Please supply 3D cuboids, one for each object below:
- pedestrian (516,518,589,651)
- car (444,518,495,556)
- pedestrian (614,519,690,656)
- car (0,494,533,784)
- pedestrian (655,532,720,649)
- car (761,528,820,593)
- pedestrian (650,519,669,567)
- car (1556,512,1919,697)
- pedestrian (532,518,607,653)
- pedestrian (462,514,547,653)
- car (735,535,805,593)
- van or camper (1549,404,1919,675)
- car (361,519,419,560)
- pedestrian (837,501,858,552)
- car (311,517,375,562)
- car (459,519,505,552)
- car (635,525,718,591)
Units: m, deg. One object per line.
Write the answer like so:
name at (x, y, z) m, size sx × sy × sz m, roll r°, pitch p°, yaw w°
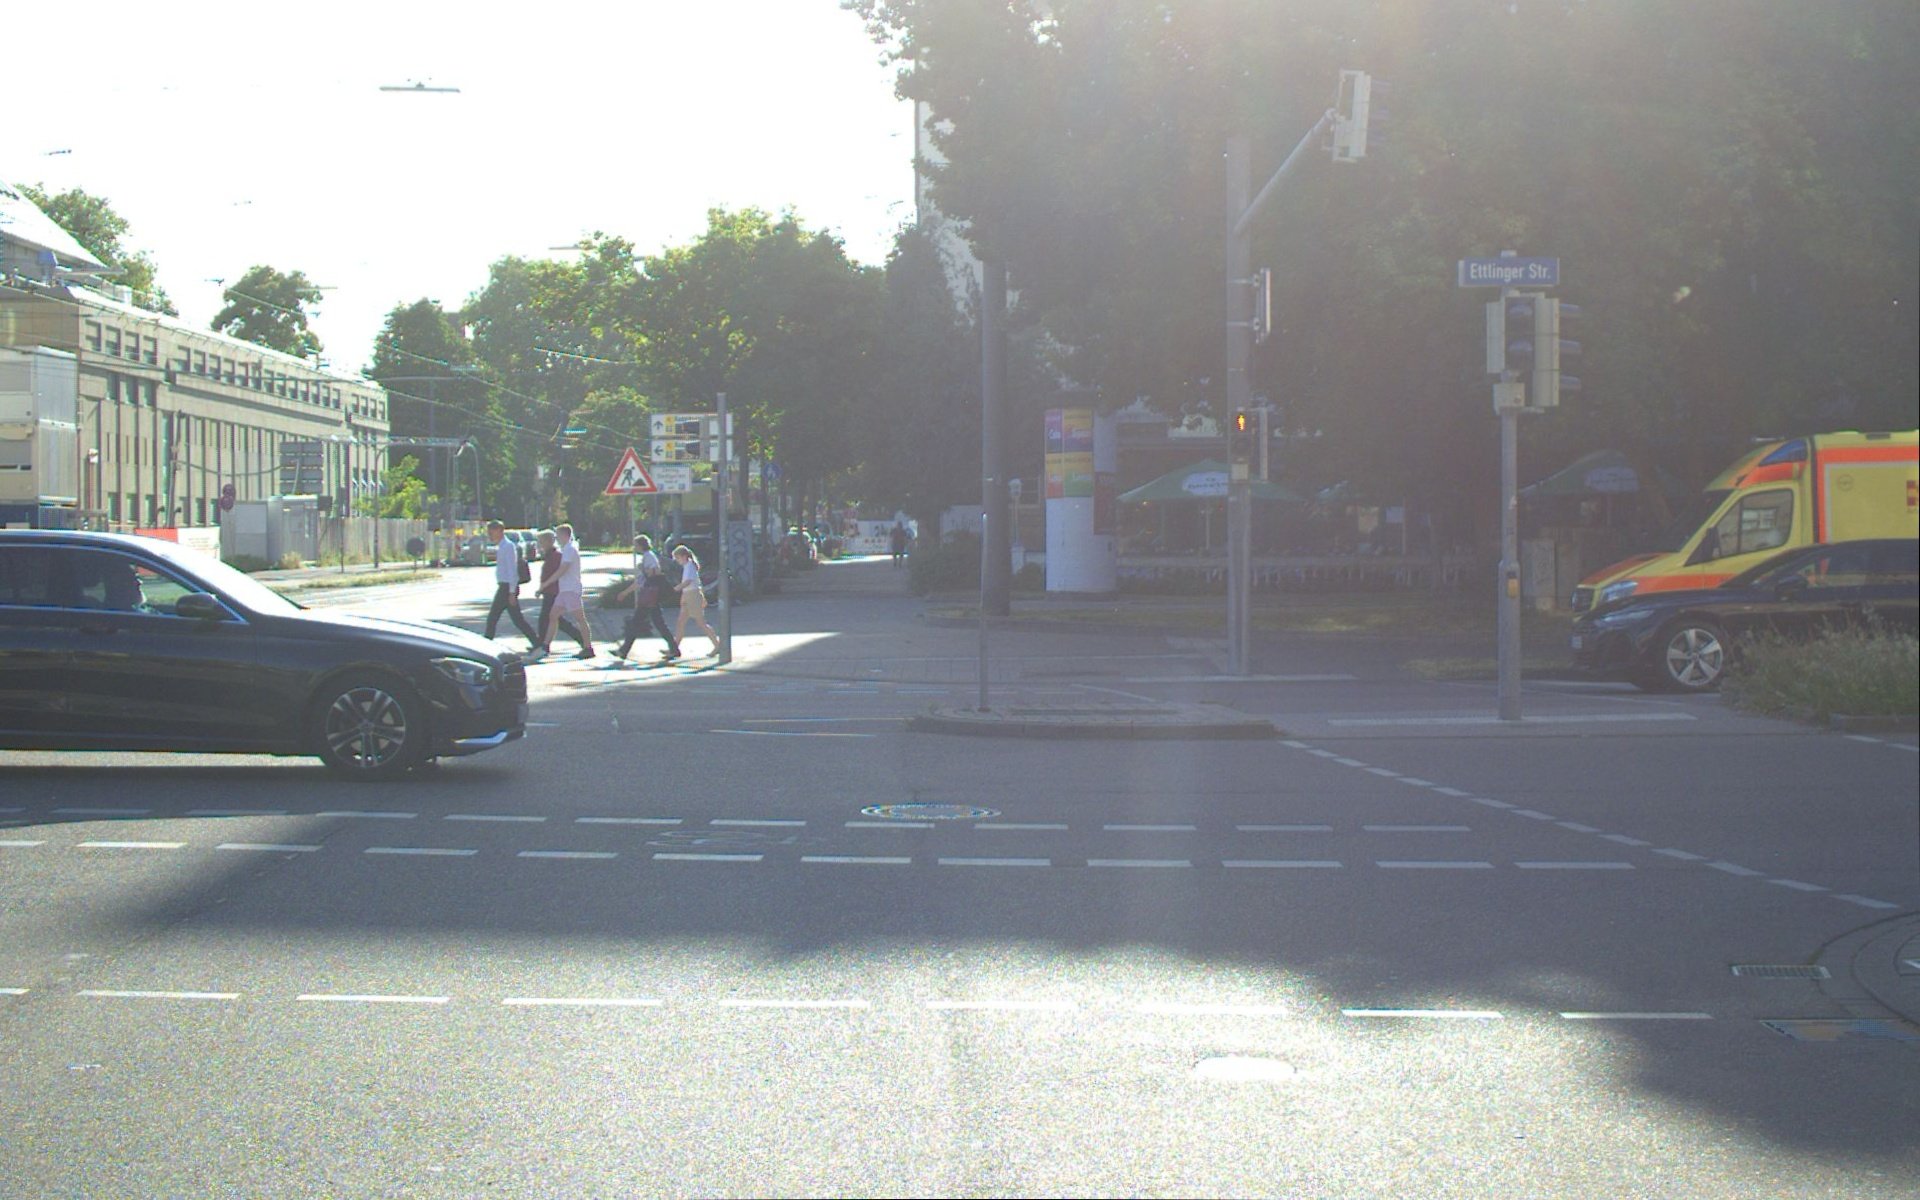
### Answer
pedestrian at (-5.526, -0.211, 46.625) m, size 0.847 × 1.778 × 0.780 m, roll -1°, pitch 1°, yaw -17°
car at (-22.247, -2.850, 155.964) m, size 1.819 × 1.706 × 3.806 m, roll 0°, pitch 1°, yaw -1°
pedestrian at (-4.069, -0.171, 45.362) m, size 0.847 × 1.778 × 0.780 m, roll -1°, pitch 1°, yaw -17°
car at (-5.219, 0.195, 21.255) m, size 4.899 × 1.650 × 1.934 m, roll 1°, pitch 2°, yaw 0°
pedestrian at (-3.657, -0.138, 46.110) m, size 0.762 × 1.553 × 0.588 m, roll -1°, pitch 1°, yaw -17°
car at (-5.294, -1.223, 107.624) m, size 1.684 × 1.955 × 3.509 m, roll 1°, pitch 0°, yaw -1°
pedestrian at (-9.303, -1.760, 106.590) m, size 0.524 × 1.479 × 0.437 m, roll 1°, pitch 0°, yaw -2°
car at (8.056, 0.056, 32.964) m, size 4.314 × 1.641 × 1.888 m, roll 1°, pitch 0°, yaw 0°
pedestrian at (-5.212, -0.201, 45.884) m, size 0.847 × 1.778 × 0.780 m, roll -1°, pitch 1°, yaw -17°
pedestrian at (-5.908, -0.218, 44.522) m, size 0.965 × 1.778 × 0.780 m, roll -1°, pitch 1°, yaw -17°
car at (-5.071, -0.954, 92.012) m, size 1.684 × 1.495 × 3.509 m, roll 1°, pitch 0°, yaw -1°
van or camper at (10.205, -0.627, 38.764) m, size 6.709 × 2.852 × 2.910 m, roll 1°, pitch 0°, yaw 4°
car at (-23.888, -2.537, 144.274) m, size 1.819 × 1.706 × 3.806 m, roll 0°, pitch 1°, yaw -1°
pedestrian at (-8.032, -5.252, 245.882) m, size 1.401 × 3.584 × 1.568 m, roll 1°, pitch 0°, yaw -1°
car at (-23.936, -2.355, 133.457) m, size 1.819 × 1.706 × 3.806 m, roll 0°, pitch 1°, yaw -1°
car at (-22.215, -3.013, 159.863) m, size 1.609 × 1.493 × 3.806 m, roll 0°, pitch 1°, yaw -1°
car at (-6.737, -0.975, 81.854) m, size 1.684 × 1.495 × 3.509 m, roll 1°, pitch 0°, yaw -1°
